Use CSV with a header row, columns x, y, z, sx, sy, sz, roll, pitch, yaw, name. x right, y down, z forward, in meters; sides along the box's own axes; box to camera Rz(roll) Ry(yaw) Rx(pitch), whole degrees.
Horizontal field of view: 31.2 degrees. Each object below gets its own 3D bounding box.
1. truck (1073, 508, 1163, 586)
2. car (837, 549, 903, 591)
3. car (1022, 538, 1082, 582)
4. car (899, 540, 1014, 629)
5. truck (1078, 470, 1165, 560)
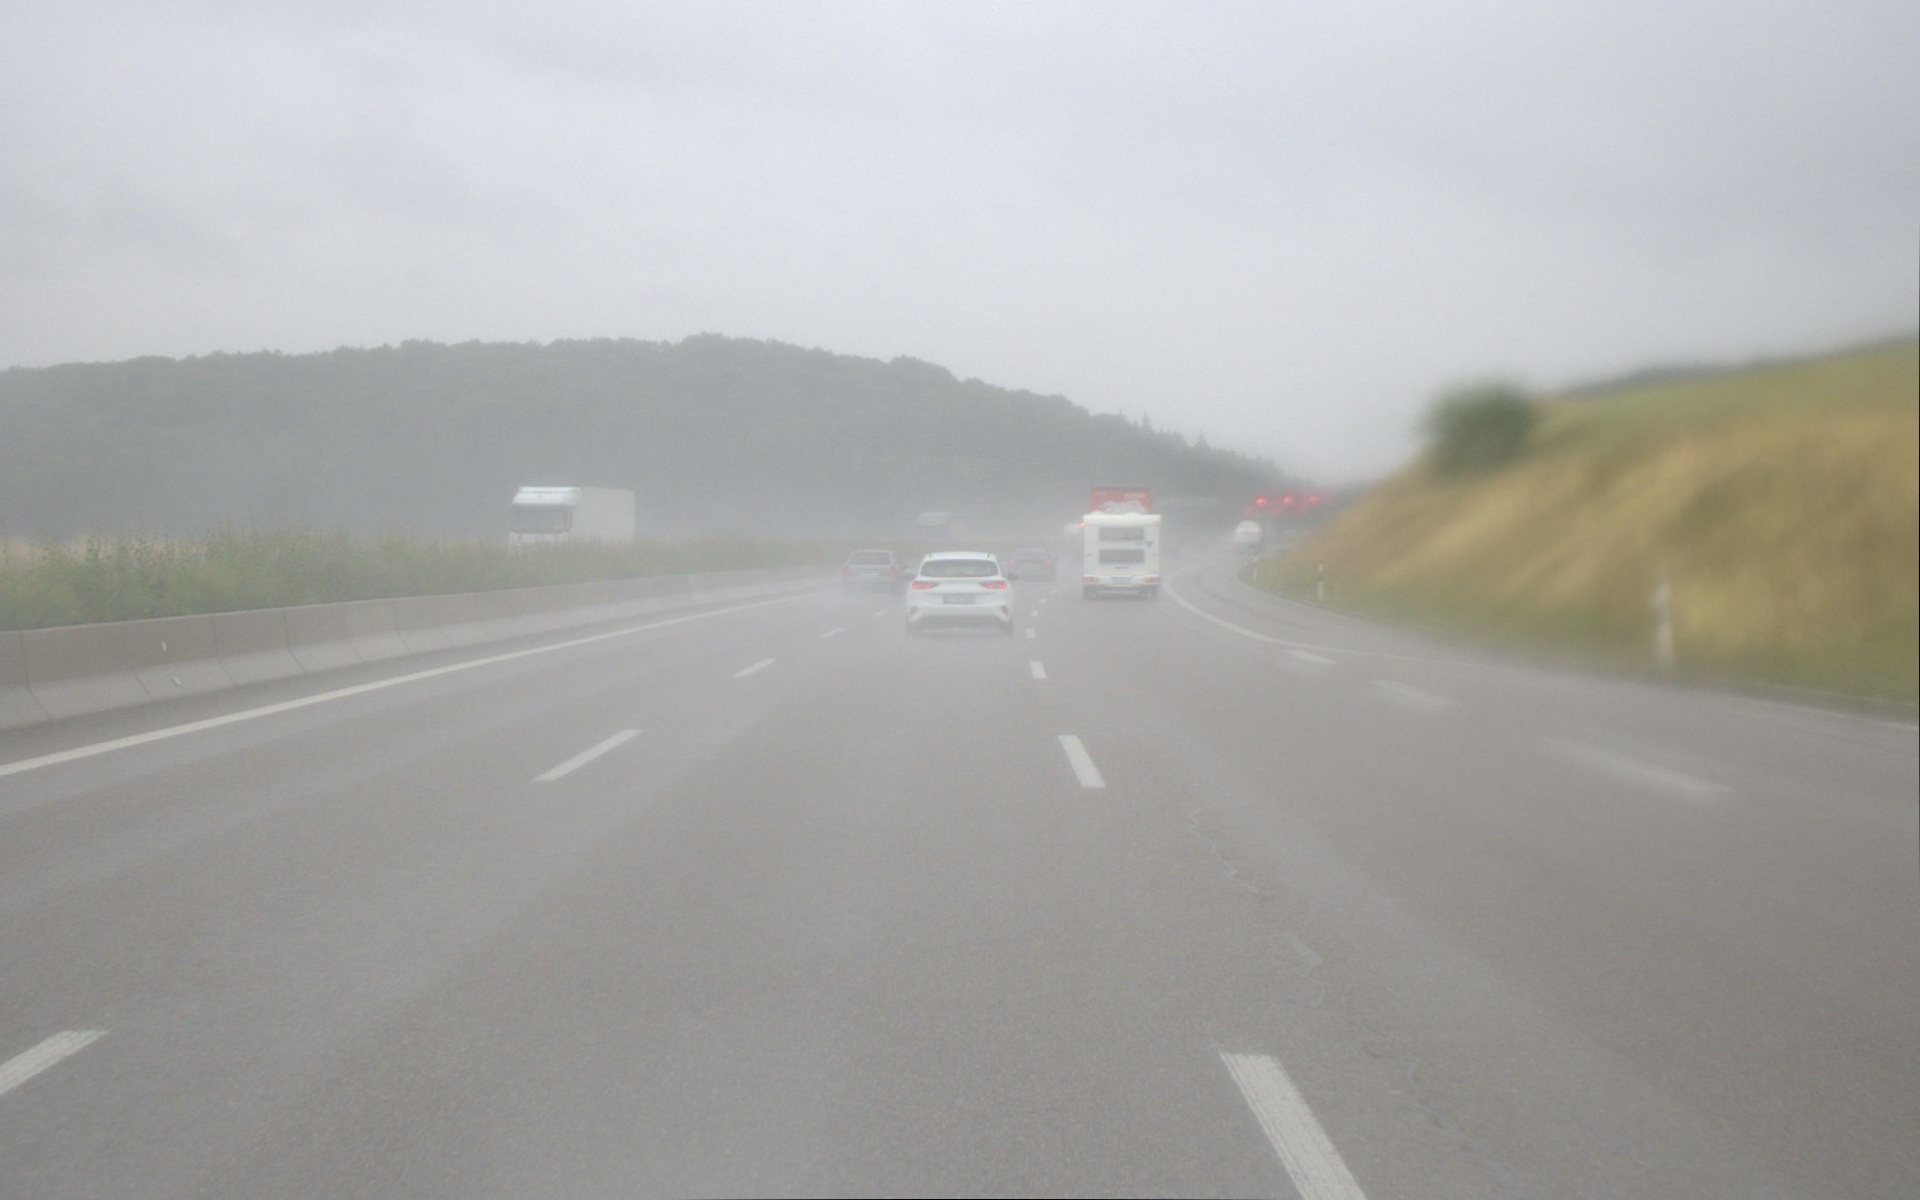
x,y,z,sx,sy,sz,roll,pitch,yaw,name
4.630,-1.566,101.377,2.408,2.244,4.693,0,1,0,truck
-2.637,-0.854,99.930,1.823,1.152,4.213,1,0,-2,car
3.431,-1.518,129.262,1.993,1.612,4.000,0,1,-2,car
-0.098,-0.262,58.600,1.867,1.458,4.000,0,0,-1,car
6.947,-3.725,149.462,3.527,3.730,11.426,1,2,2,truck
